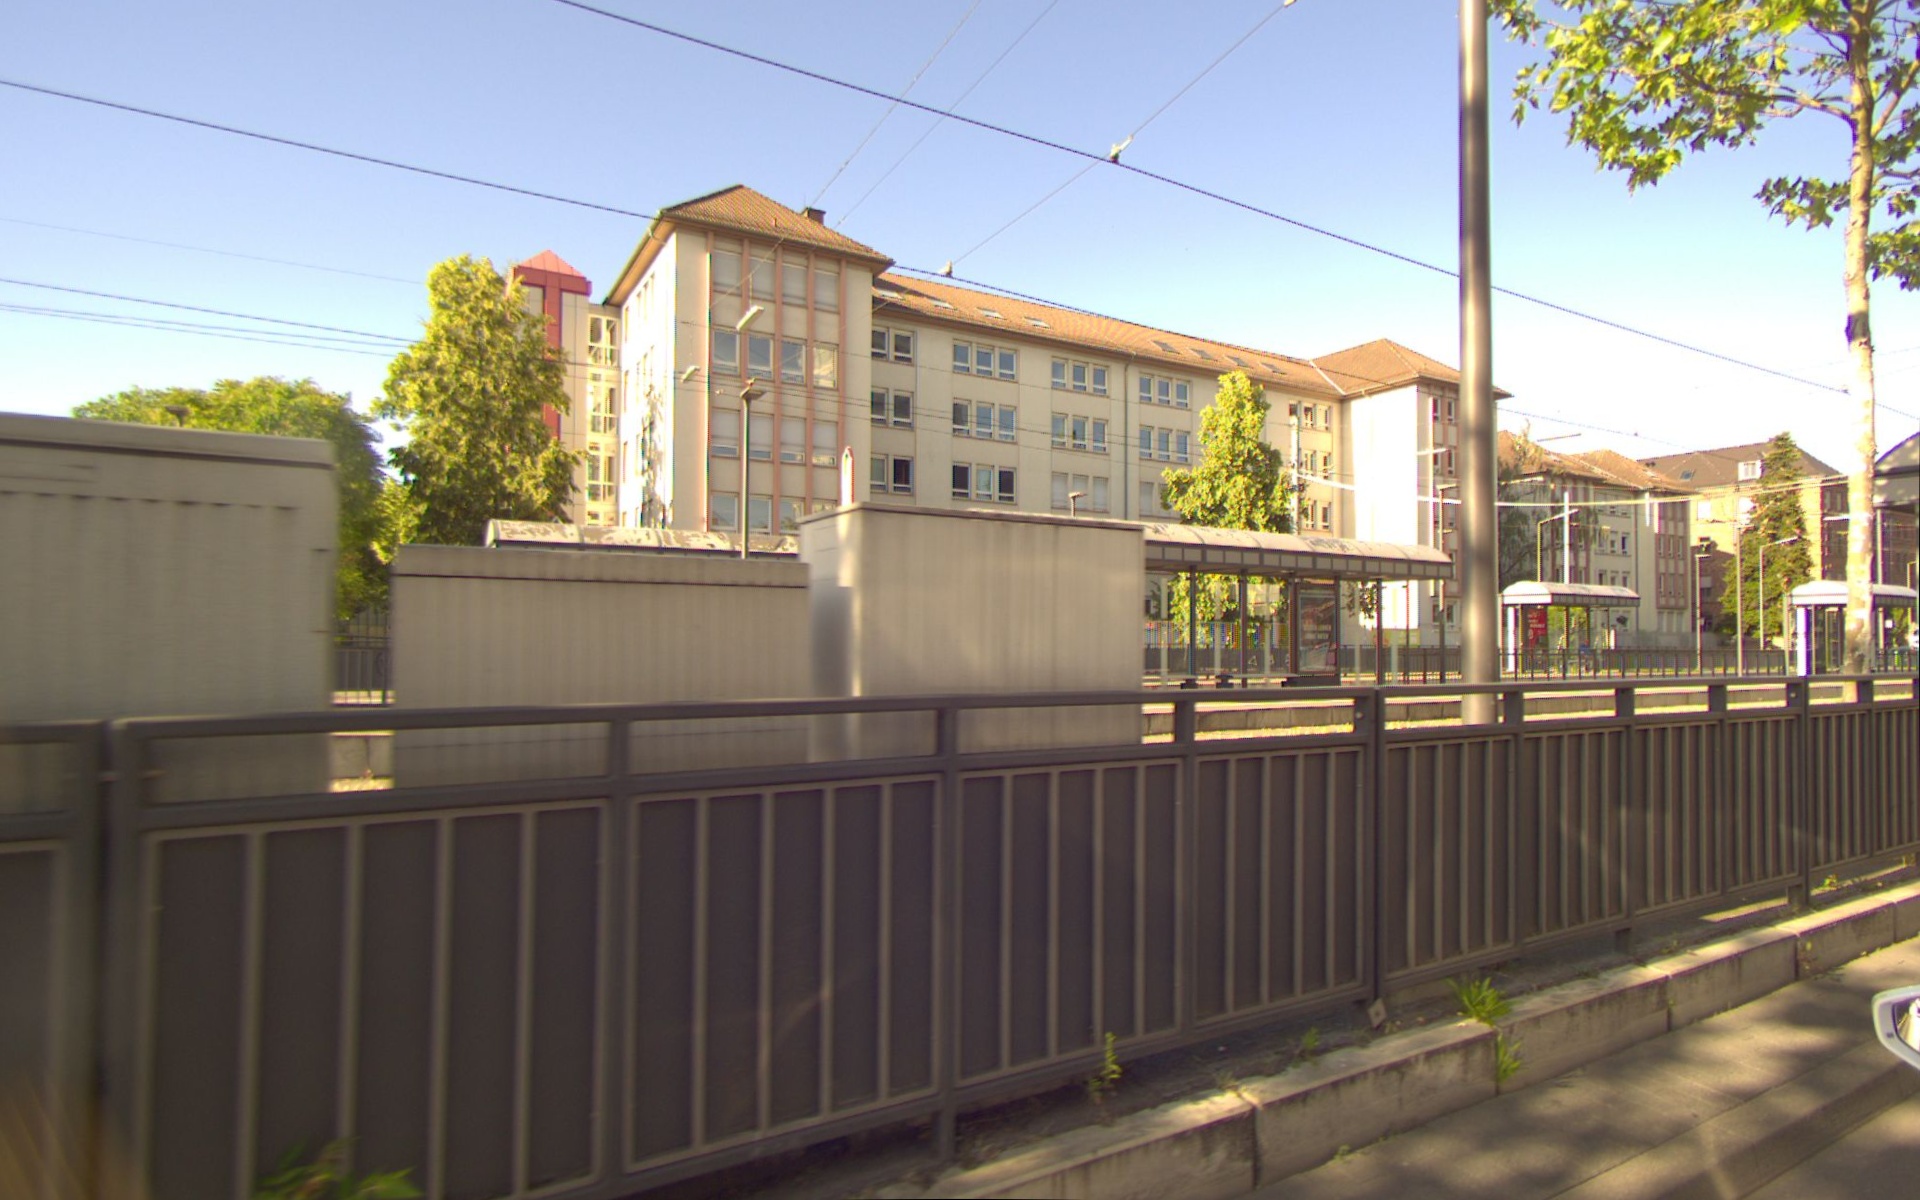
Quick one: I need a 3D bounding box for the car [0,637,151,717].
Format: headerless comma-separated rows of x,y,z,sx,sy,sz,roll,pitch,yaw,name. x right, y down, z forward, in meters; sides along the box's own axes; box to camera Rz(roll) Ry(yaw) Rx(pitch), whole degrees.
-17.944,1.416,18.869,3.951,1.439,1.790,2,-2,-29,car

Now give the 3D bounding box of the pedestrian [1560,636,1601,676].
22.182,1.978,35.910,0.869,1.394,0.970,1,-1,-31,pedestrian
